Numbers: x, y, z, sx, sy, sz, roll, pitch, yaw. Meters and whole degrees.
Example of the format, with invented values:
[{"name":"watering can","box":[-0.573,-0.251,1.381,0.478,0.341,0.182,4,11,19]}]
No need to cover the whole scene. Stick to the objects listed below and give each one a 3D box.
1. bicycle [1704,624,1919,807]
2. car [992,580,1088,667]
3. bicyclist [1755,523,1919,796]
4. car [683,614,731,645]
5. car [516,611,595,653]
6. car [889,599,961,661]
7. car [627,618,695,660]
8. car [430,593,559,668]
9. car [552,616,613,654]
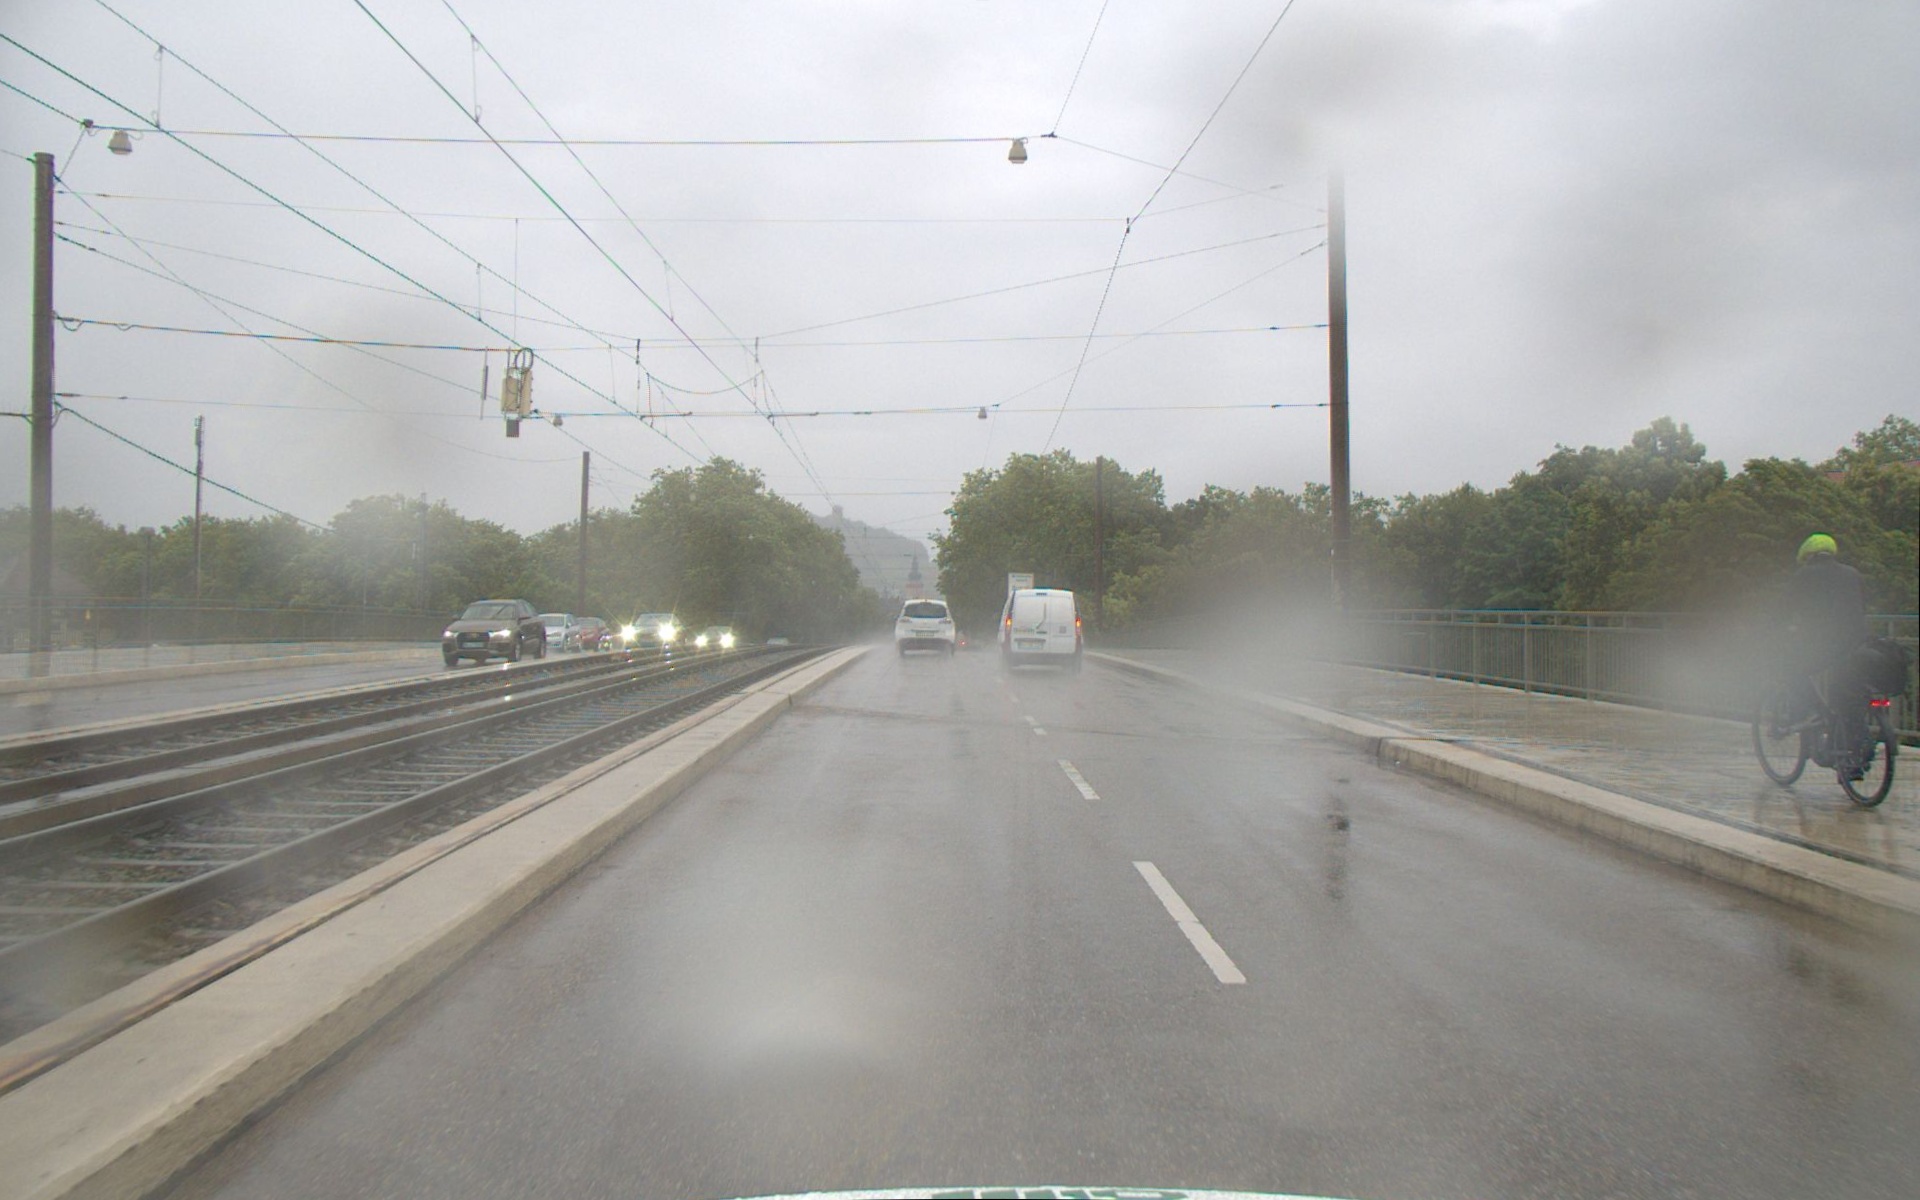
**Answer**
[{"name":"bicycle","box":[6.075,0.752,11.596,0.708,1.149,2.167,2,-1,-1]},{"name":"car","box":[1.714,0.545,36.508,1.952,1.757,4.000,2,-2,1]},{"name":"bicyclist","box":[6.109,0.411,11.471,0.711,1.795,0.949,2,-2,-1]},{"name":"car","box":[-12.998,1.537,85.174,1.953,1.536,4.090,-1,-2,-2]},{"name":"car","box":[-15.294,1.223,62.737,1.953,1.481,4.618,-1,-2,-2]},{"name":"car","box":[-1.014,0.925,49.925,1.952,1.747,4.000,2,-2,1]},{"name":"car","box":[-11.602,1.543,64.492,1.954,1.536,5.109,-1,-2,-3]},{"name":"car","box":[-11.784,0.799,42.190,1.953,1.747,4.939,-1,-2,-1]},{"name":"car","box":[-15.457,1.456,67.924,1.587,1.481,4.320,-1,-2,-2]}]
